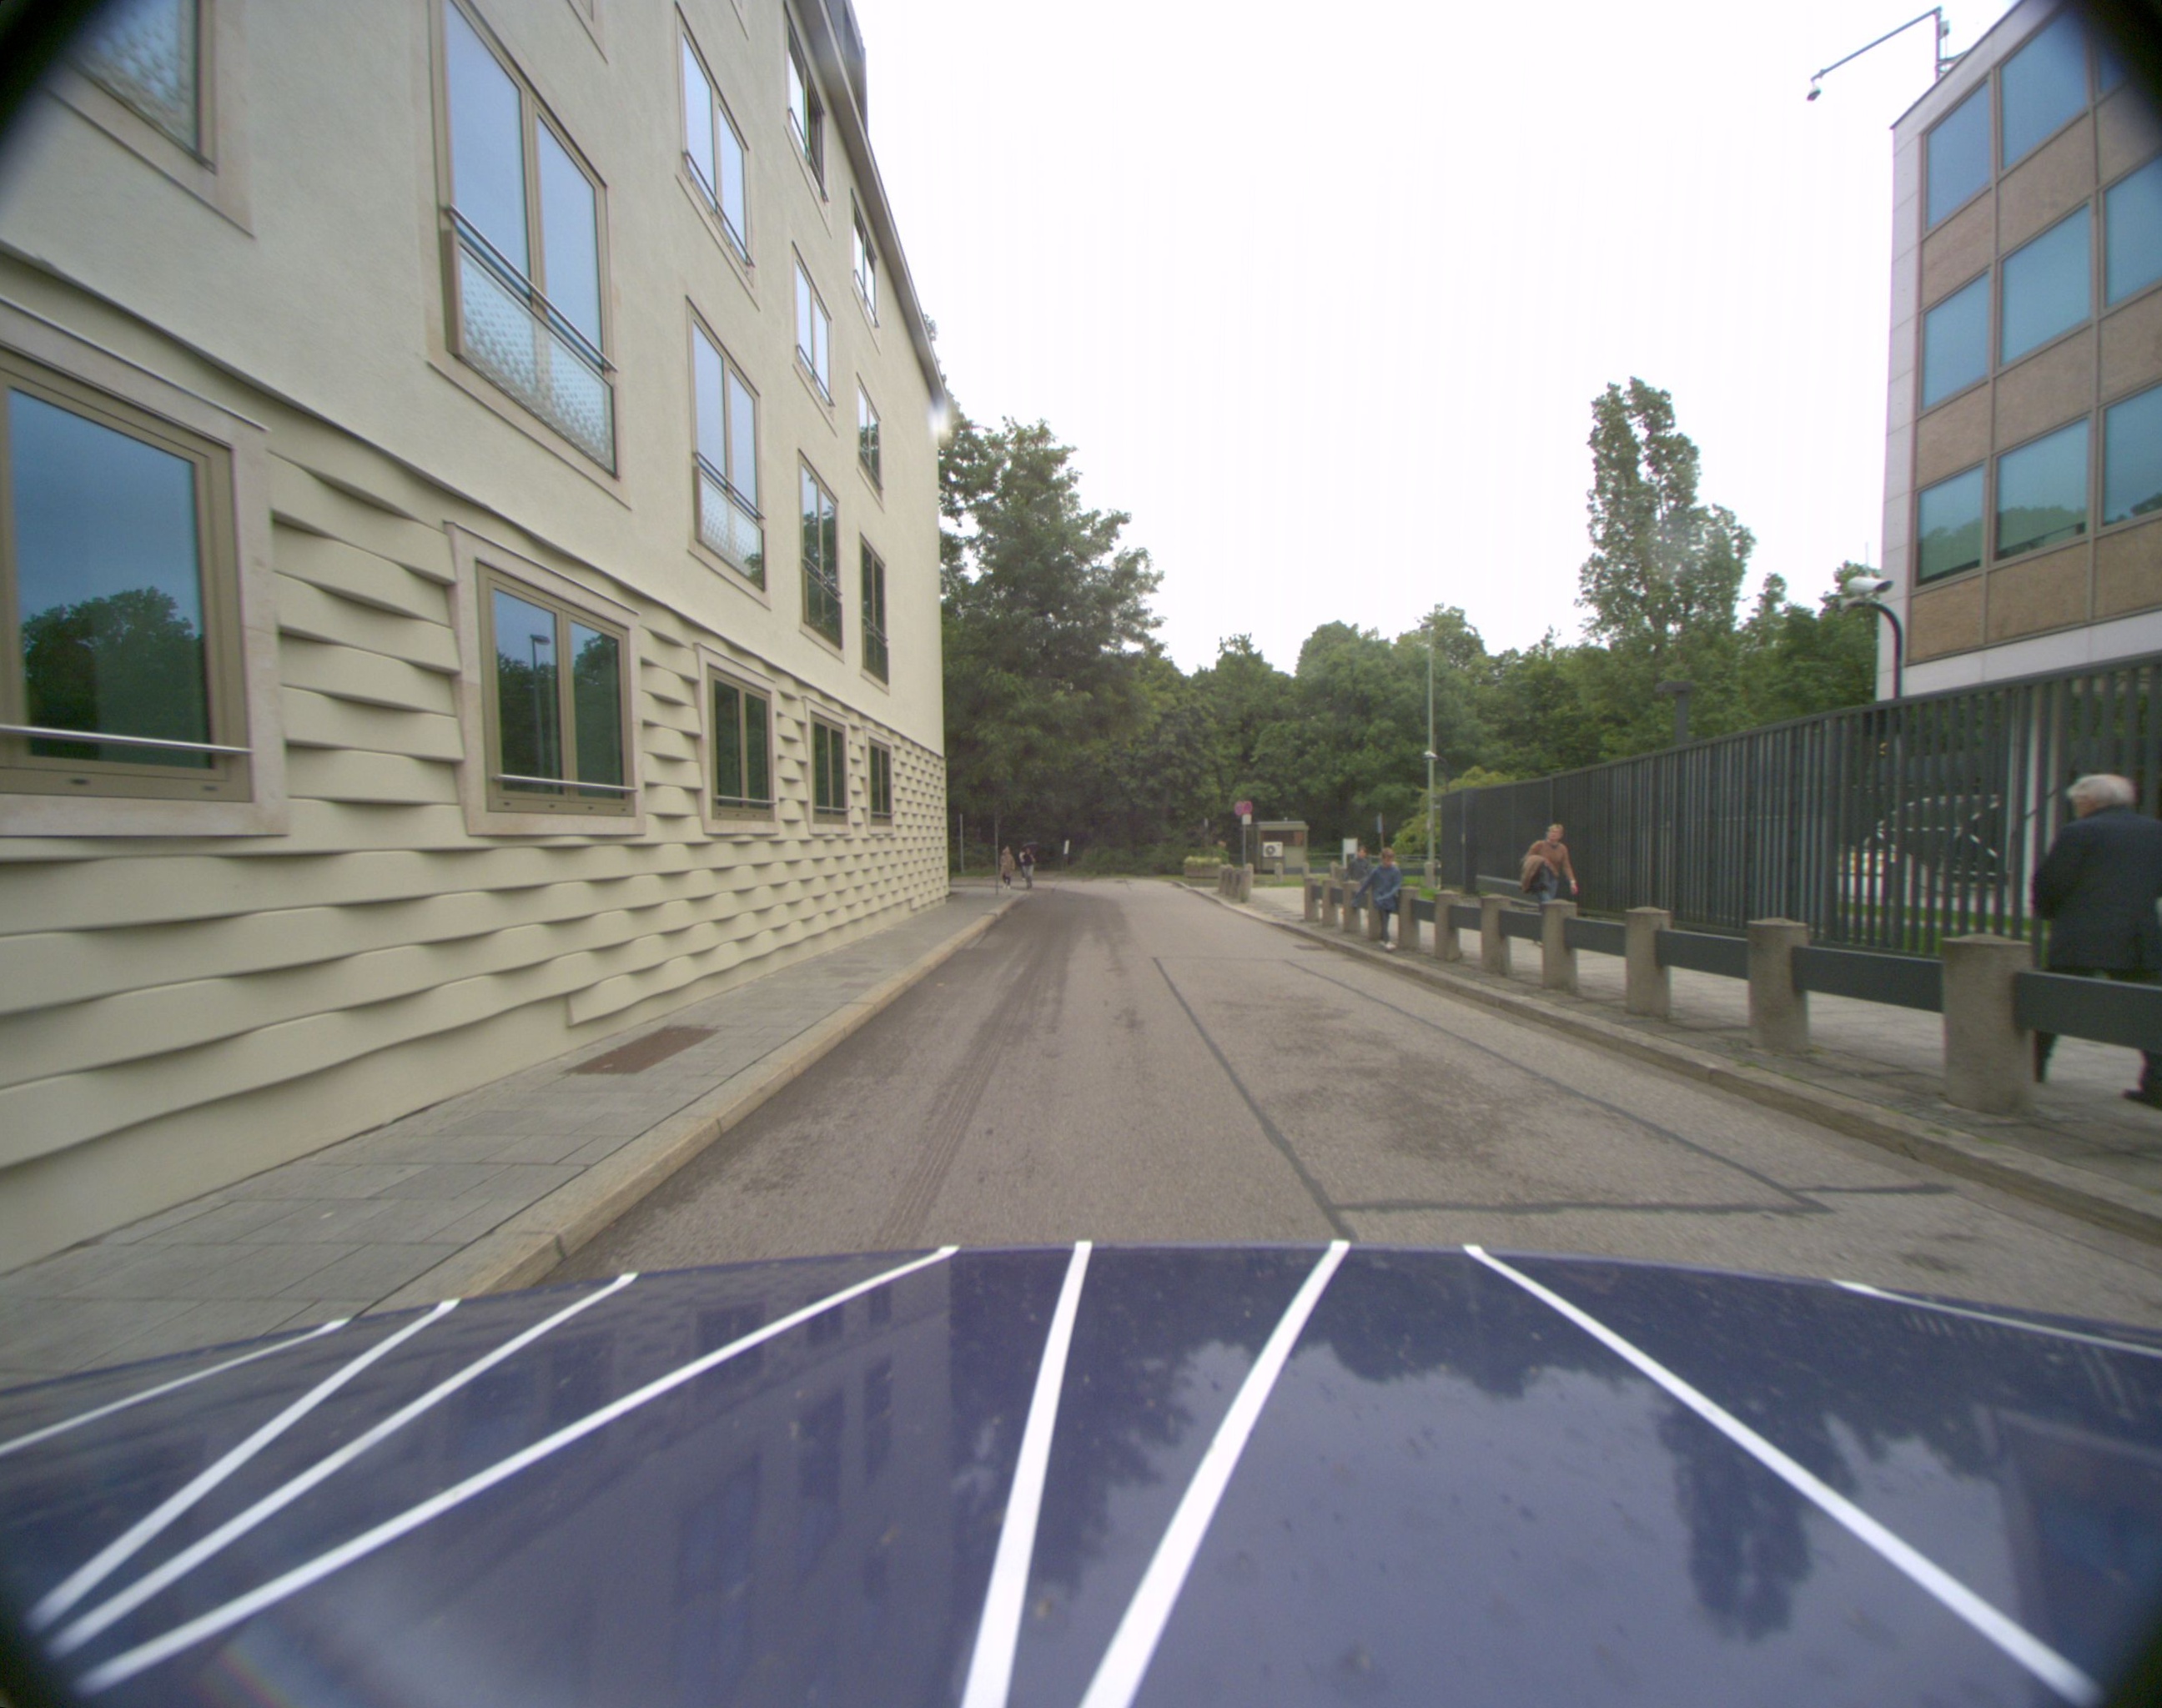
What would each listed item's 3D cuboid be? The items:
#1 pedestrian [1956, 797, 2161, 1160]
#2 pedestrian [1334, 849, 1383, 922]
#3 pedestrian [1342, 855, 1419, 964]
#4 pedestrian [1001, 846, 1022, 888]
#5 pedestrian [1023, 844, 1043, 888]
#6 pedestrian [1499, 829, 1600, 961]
[{"bbox_3d":[5.435,0.597,4.059,0.625,1.758,0.766,-1,1,0],"label":"pedestrian"},{"bbox_3d":[6.150,0.679,16.865,0.778,1.531,0.933,-3,1,8],"label":"pedestrian"},{"bbox_3d":[4.334,0.769,11.056,0.640,1.459,1.079,-3,1,1],"label":"pedestrian"},{"bbox_3d":[-2.773,0.511,30.259,0.753,1.671,0.655,-1,1,-1],"label":"pedestrian"},{"bbox_3d":[-1.931,0.472,30.802,0.753,1.726,0.853,-1,1,-1],"label":"pedestrian"},{"bbox_3d":[6.439,0.540,10.489,0.826,1.713,0.906,-3,1,5],"label":"pedestrian"}]
